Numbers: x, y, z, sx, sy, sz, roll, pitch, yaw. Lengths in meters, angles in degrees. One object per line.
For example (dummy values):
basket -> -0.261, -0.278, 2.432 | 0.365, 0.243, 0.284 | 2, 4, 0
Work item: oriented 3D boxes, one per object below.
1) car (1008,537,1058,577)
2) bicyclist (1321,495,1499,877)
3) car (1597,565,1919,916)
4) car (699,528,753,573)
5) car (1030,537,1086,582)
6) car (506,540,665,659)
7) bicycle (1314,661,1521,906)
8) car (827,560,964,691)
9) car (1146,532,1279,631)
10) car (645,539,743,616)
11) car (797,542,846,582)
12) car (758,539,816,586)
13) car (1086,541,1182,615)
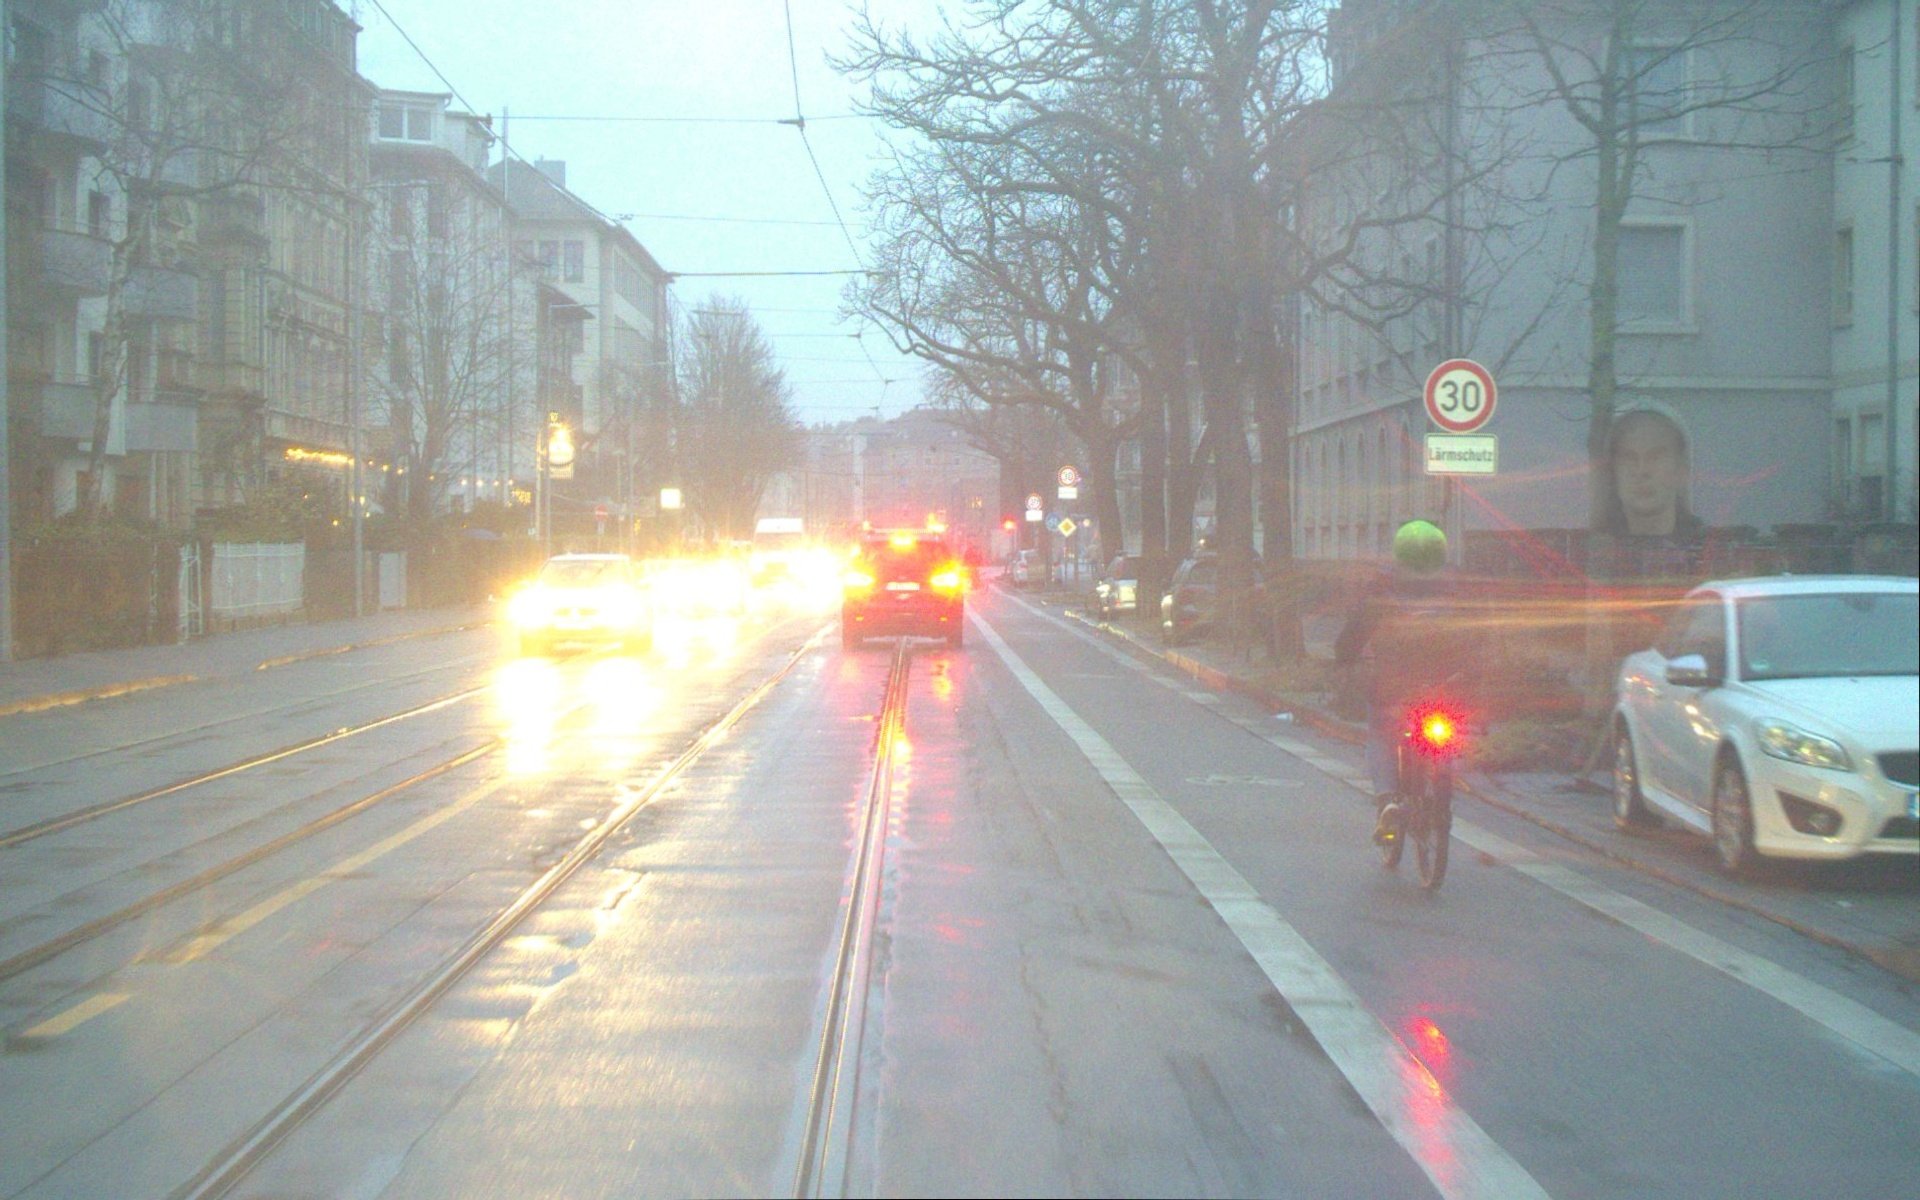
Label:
car -> 2.788, -1.672, 132.167 | 1.785, 1.504, 4.109 | 0, 1, 0
bicyclist -> 2.078, 0.383, 15.955 | 0.730, 1.730, 0.765 | 0, 1, 1
car -> 4.454, 0.601, 17.267 | 1.785, 1.504, 4.108 | 0, 1, 1
car -> -9.198, -1.954, 135.359 | 1.923, 1.714, 4.000 | 0, 1, -1
car -> 3.360, -1.403, 118.549 | 1.785, 1.504, 4.109 | 0, 1, 0
car -> -5.416, -0.043, 50.200 | 1.923, 1.656, 4.000 | 0, 1, -1
bicycle -> 2.085, 0.817, 15.864 | 0.731, 1.003, 1.764 | 0, 1, 0
car -> -0.967, 0.356, 53.697 | 1.802, 1.864, 4.018 | 2, 1, 3
car -> 4.016, -0.327, 55.178 | 1.785, 1.504, 4.109 | 0, 1, 0
car -> -5.940, -0.535, 77.065 | 1.923, 1.656, 4.000 | 0, 1, -1
car -> -5.807, -1.621, 144.543 | 1.923, 1.656, 4.000 | 0, 1, -1
car -> -6.247, -1.373, 124.602 | 1.923, 1.656, 4.000 | 0, 1, -1
car -> 3.670, -0.488, 73.205 | 1.785, 1.504, 4.109 | 0, 1, 0
